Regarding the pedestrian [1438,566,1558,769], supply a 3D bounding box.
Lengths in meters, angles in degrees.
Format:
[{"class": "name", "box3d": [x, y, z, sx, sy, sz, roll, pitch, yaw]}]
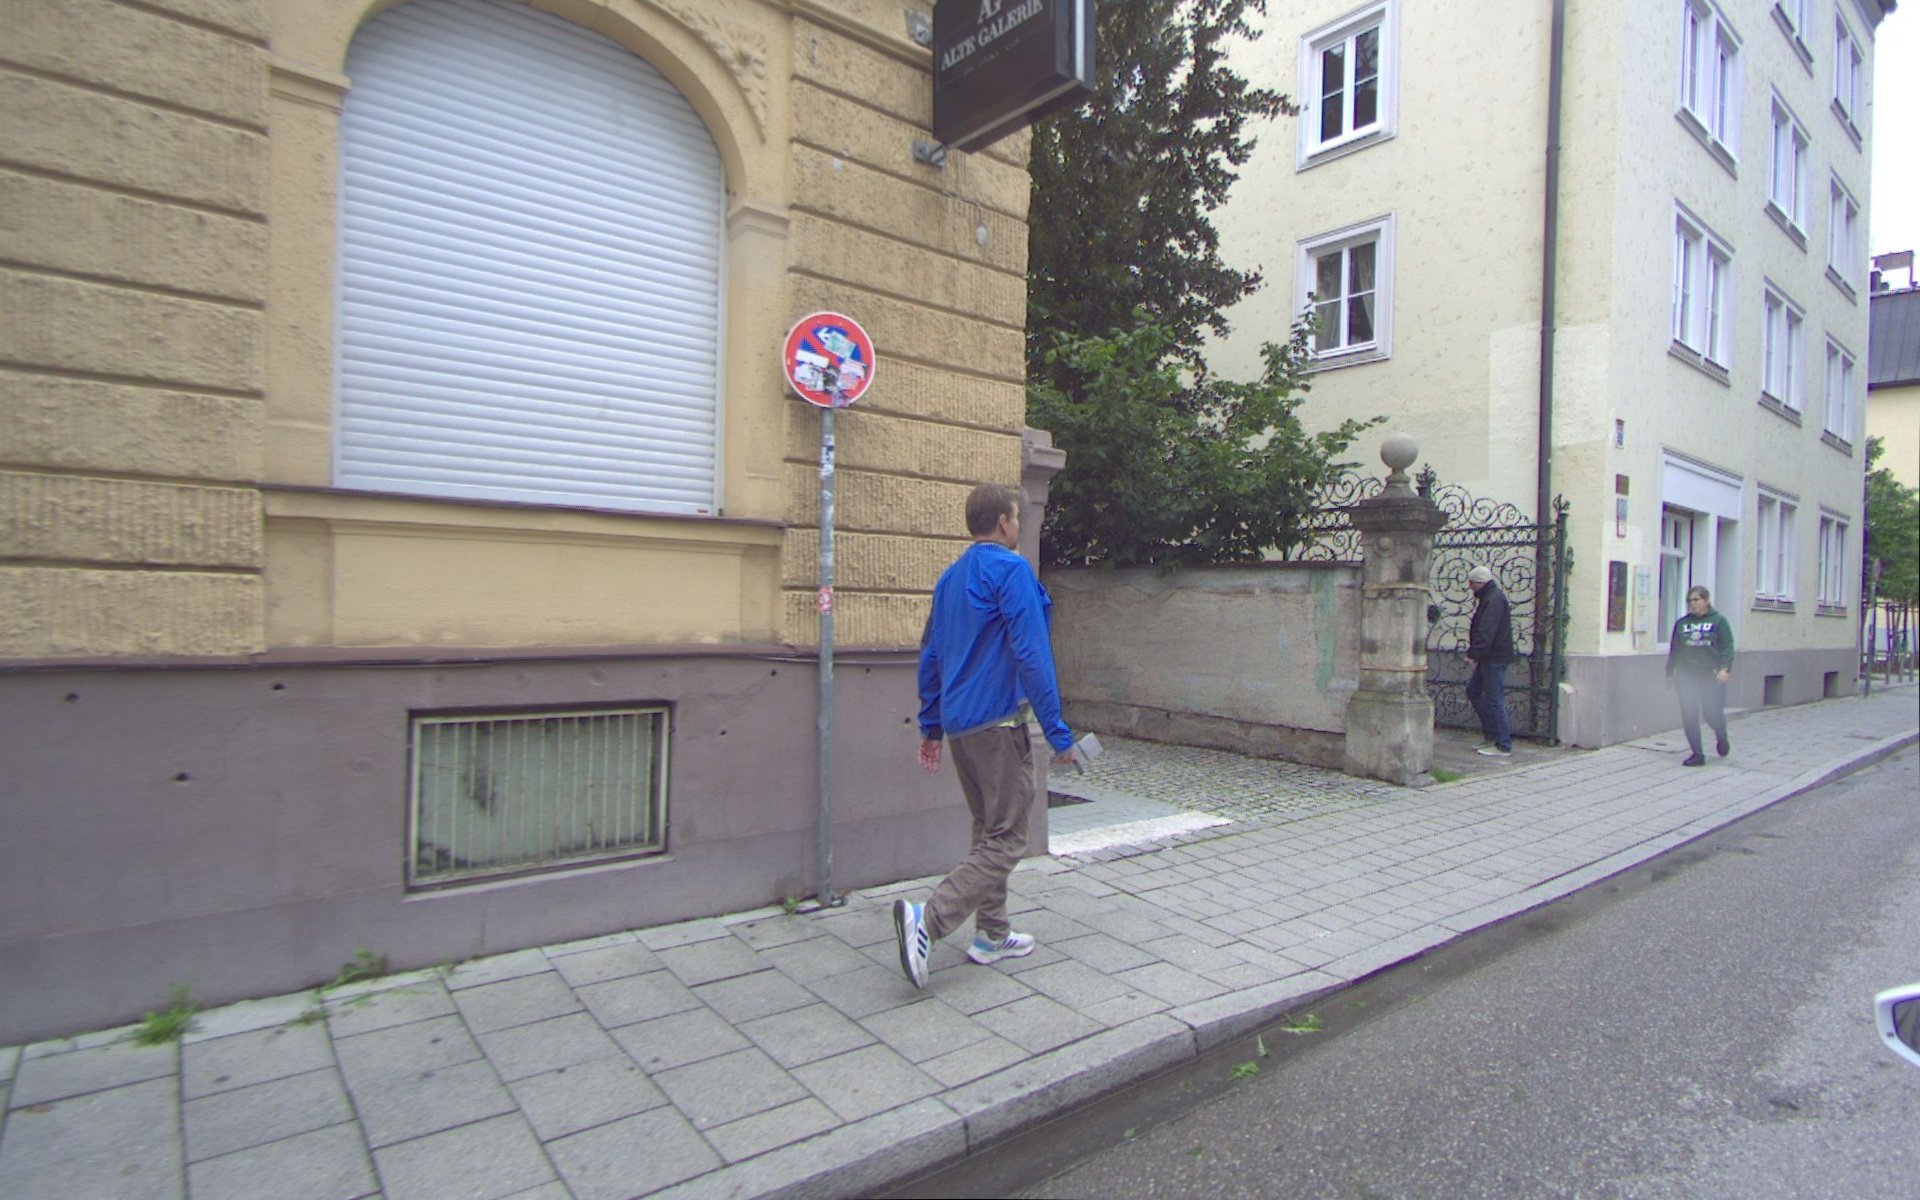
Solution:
[{"class": "pedestrian", "box3d": [5.253, 0.617, 9.841, 0.938, 1.851, 0.907, 2, 0, 28]}]

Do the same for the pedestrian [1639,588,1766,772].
[{"class": "pedestrian", "box3d": [7.366, 0.757, 9.966, 0.922, 1.688, 0.707, 1, 3, -39]}]

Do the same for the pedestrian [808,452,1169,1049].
[{"class": "pedestrian", "box3d": [0.112, 0.477, 3.784, 1.068, 1.879, 0.751, 1, 1, -39]}]

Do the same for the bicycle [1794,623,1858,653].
[{"class": "bicycle", "box3d": [38.042, 1.668, 44.163, 0.563, 1.214, 2.032, 1, 1, -31]}]
